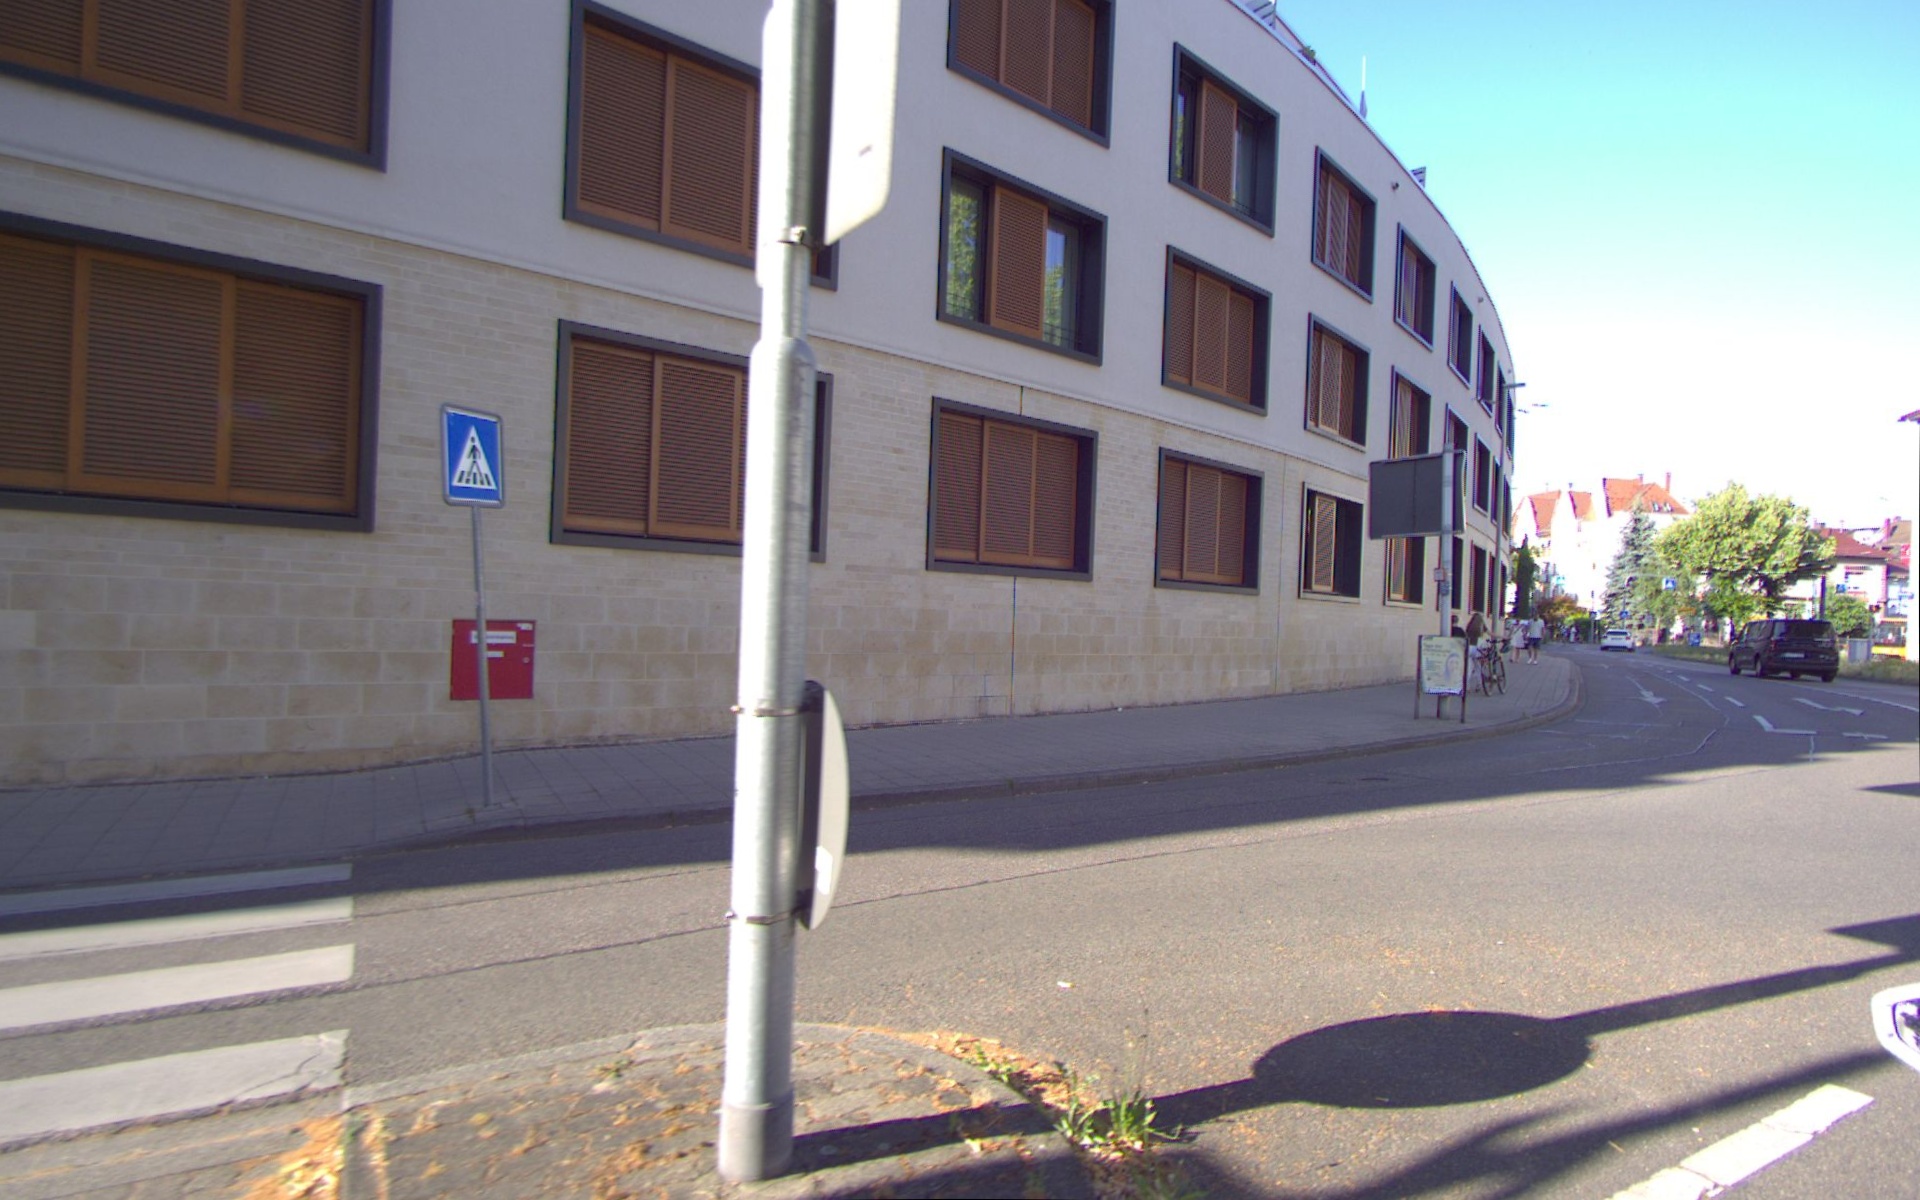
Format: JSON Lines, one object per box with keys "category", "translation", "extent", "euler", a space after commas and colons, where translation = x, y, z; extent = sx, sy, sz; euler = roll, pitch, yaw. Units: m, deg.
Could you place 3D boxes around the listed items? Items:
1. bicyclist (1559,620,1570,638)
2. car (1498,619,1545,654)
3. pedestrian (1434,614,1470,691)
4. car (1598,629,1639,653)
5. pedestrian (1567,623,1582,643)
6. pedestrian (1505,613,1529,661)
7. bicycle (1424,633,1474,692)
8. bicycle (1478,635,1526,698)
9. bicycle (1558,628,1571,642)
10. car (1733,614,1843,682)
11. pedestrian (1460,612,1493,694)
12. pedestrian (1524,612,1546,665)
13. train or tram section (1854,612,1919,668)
{"category": "bicyclist", "translation": [47.408, 2.297, 78.796], "extent": [0.612, 1.398, 0.800], "euler": [1, -1, 24]}
{"category": "car", "translation": [34.690, 2.236, 62.158], "extent": [1.781, 1.894, 4.332], "euler": [5, 0, 21]}
{"category": "pedestrian", "translation": [10.468, 1.110, 21.359], "extent": [0.468, 1.586, 0.599], "euler": [4, 1, 42]}
{"category": "car", "translation": [44.010, 2.731, 67.114], "extent": [1.935, 1.525, 3.670], "euler": [1, -1, 38]}
{"category": "pedestrian", "translation": [52.439, 2.821, 85.702], "extent": [0.856, 1.679, 0.906], "euler": [5, 0, 28]}
{"category": "pedestrian", "translation": [20.751, 1.386, 37.398], "extent": [0.692, 1.736, 0.841], "euler": [3, 0, 30]}
{"category": "bicycle", "translation": [10.353, 1.309, 21.242], "extent": [0.371, 1.183, 1.826], "euler": [3, 1, 43]}
{"category": "bicycle", "translation": [11.099, 1.330, 20.554], "extent": [0.435, 1.194, 1.957], "euler": [3, 1, 40]}
{"category": "bicycle", "translation": [47.374, 2.745, 78.746], "extent": [0.612, 1.096, 1.783], "euler": [1, -1, 24]}
{"category": "car", "translation": [27.776, 1.560, 33.854], "extent": [1.963, 2.040, 3.995], "euler": [3, 0, 27]}
{"category": "pedestrian", "translation": [10.736, 1.091, 20.879], "extent": [0.468, 1.669, 0.599], "euler": [1, -1, 42]}
{"category": "pedestrian", "translation": [21.247, 1.419, 37.131], "extent": [0.596, 1.873, 0.991], "euler": [3, 0, 30]}
{"category": "train or tram section", "translation": [65.801, 2.781, 67.262], "extent": [9.730, 3.603, 2.783], "euler": [2, 0, -4]}
